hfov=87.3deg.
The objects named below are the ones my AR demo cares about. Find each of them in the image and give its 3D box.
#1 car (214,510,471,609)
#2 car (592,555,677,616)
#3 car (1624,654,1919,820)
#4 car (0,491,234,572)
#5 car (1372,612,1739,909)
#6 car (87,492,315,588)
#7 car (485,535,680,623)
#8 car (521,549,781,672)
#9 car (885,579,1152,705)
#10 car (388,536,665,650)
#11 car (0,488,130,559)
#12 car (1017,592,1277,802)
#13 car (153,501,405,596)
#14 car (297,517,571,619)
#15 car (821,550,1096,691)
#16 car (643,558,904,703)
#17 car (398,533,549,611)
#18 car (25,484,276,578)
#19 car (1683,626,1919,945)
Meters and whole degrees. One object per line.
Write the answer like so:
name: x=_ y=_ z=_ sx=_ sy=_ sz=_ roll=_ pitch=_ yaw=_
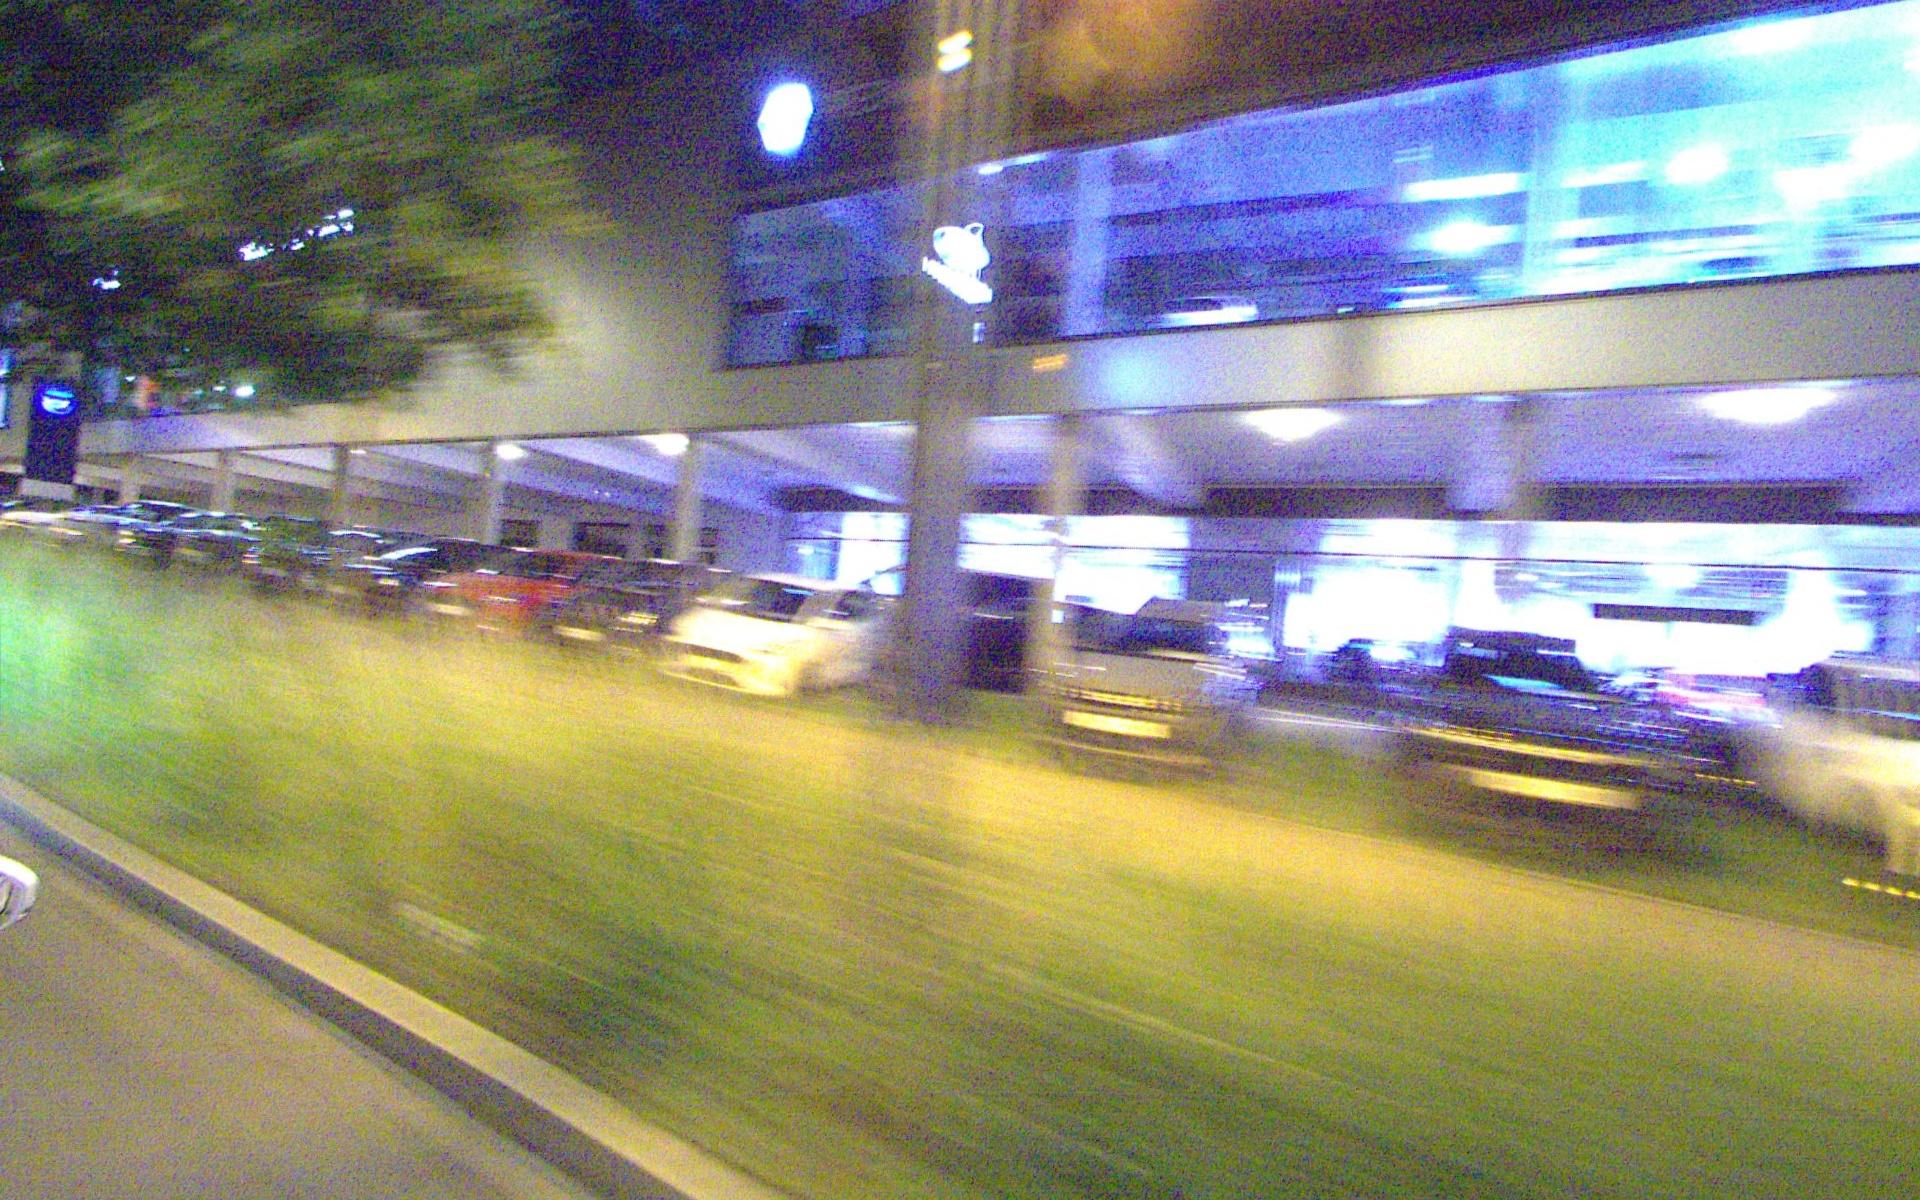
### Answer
car: x=-11.272 y=-0.663 z=18.749 sx=1.791 sy=1.409 sz=4.000 roll=8 pitch=1 yaw=9
car: x=-10.753 y=-0.429 z=33.554 sx=1.628 sy=1.673 sz=4.320 roll=7 pitch=-2 yaw=-5
car: x=9.624 y=1.525 z=11.136 sx=3.440 sy=1.440 sz=1.637 roll=6 pitch=0 yaw=-6
car: x=-20.362 y=-1.595 z=24.224 sx=1.910 sy=1.279 sz=4.648 roll=8 pitch=-1 yaw=7
car: x=4.620 y=1.038 z=8.507 sx=1.820 sy=1.590 sz=4.087 roll=7 pitch=3 yaw=21
car: x=-15.823 y=-1.186 z=21.212 sx=1.648 sy=1.450 sz=3.618 roll=7 pitch=-2 yaw=8
car: x=-8.546 y=-0.450 z=23.007 sx=3.726 sy=1.482 sz=1.626 roll=7 pitch=0 yaw=-2
car: x=-4.327 y=0.099 z=14.700 sx=1.684 sy=1.398 sz=3.775 roll=6 pitch=3 yaw=18
car: x=0.867 y=0.651 z=16.552 sx=3.932 sy=1.549 sz=1.989 roll=6 pitch=1 yaw=-9
car: x=-6.600 y=-0.120 z=15.838 sx=1.791 sy=1.392 sz=4.032 roll=6 pitch=2 yaw=15
car: x=-24.693 y=-2.119 z=26.347 sx=1.841 sy=1.436 sz=4.140 roll=6 pitch=-2 yaw=18
car: x=2.198 y=0.780 z=10.634 sx=1.737 sy=1.569 sz=4.466 roll=6 pitch=3 yaw=22
car: x=-13.535 y=-0.965 z=20.321 sx=1.798 sy=1.489 sz=4.000 roll=7 pitch=1 yaw=12
car: x=-8.967 y=-0.482 z=17.557 sx=1.775 sy=1.399 sz=3.996 roll=7 pitch=1 yaw=21
car: x=-0.076 y=0.402 z=18.814 sx=4.742 sy=1.940 sz=1.834 roll=7 pitch=-1 yaw=-6
car: x=-2.270 y=0.354 z=13.328 sx=1.685 sy=1.472 sz=3.811 roll=7 pitch=2 yaw=18
car: x=-12.125 y=-0.667 z=25.209 sx=3.021 sy=1.504 sz=1.319 roll=8 pitch=-1 yaw=-10
car: x=-18.114 y=-1.479 z=22.766 sx=1.873 sy=1.440 sz=4.003 roll=8 pitch=-1 yaw=14
car: x=7.302 y=1.236 z=7.390 sx=1.963 sy=1.710 sz=4.467 roll=7 pitch=3 yaw=21
